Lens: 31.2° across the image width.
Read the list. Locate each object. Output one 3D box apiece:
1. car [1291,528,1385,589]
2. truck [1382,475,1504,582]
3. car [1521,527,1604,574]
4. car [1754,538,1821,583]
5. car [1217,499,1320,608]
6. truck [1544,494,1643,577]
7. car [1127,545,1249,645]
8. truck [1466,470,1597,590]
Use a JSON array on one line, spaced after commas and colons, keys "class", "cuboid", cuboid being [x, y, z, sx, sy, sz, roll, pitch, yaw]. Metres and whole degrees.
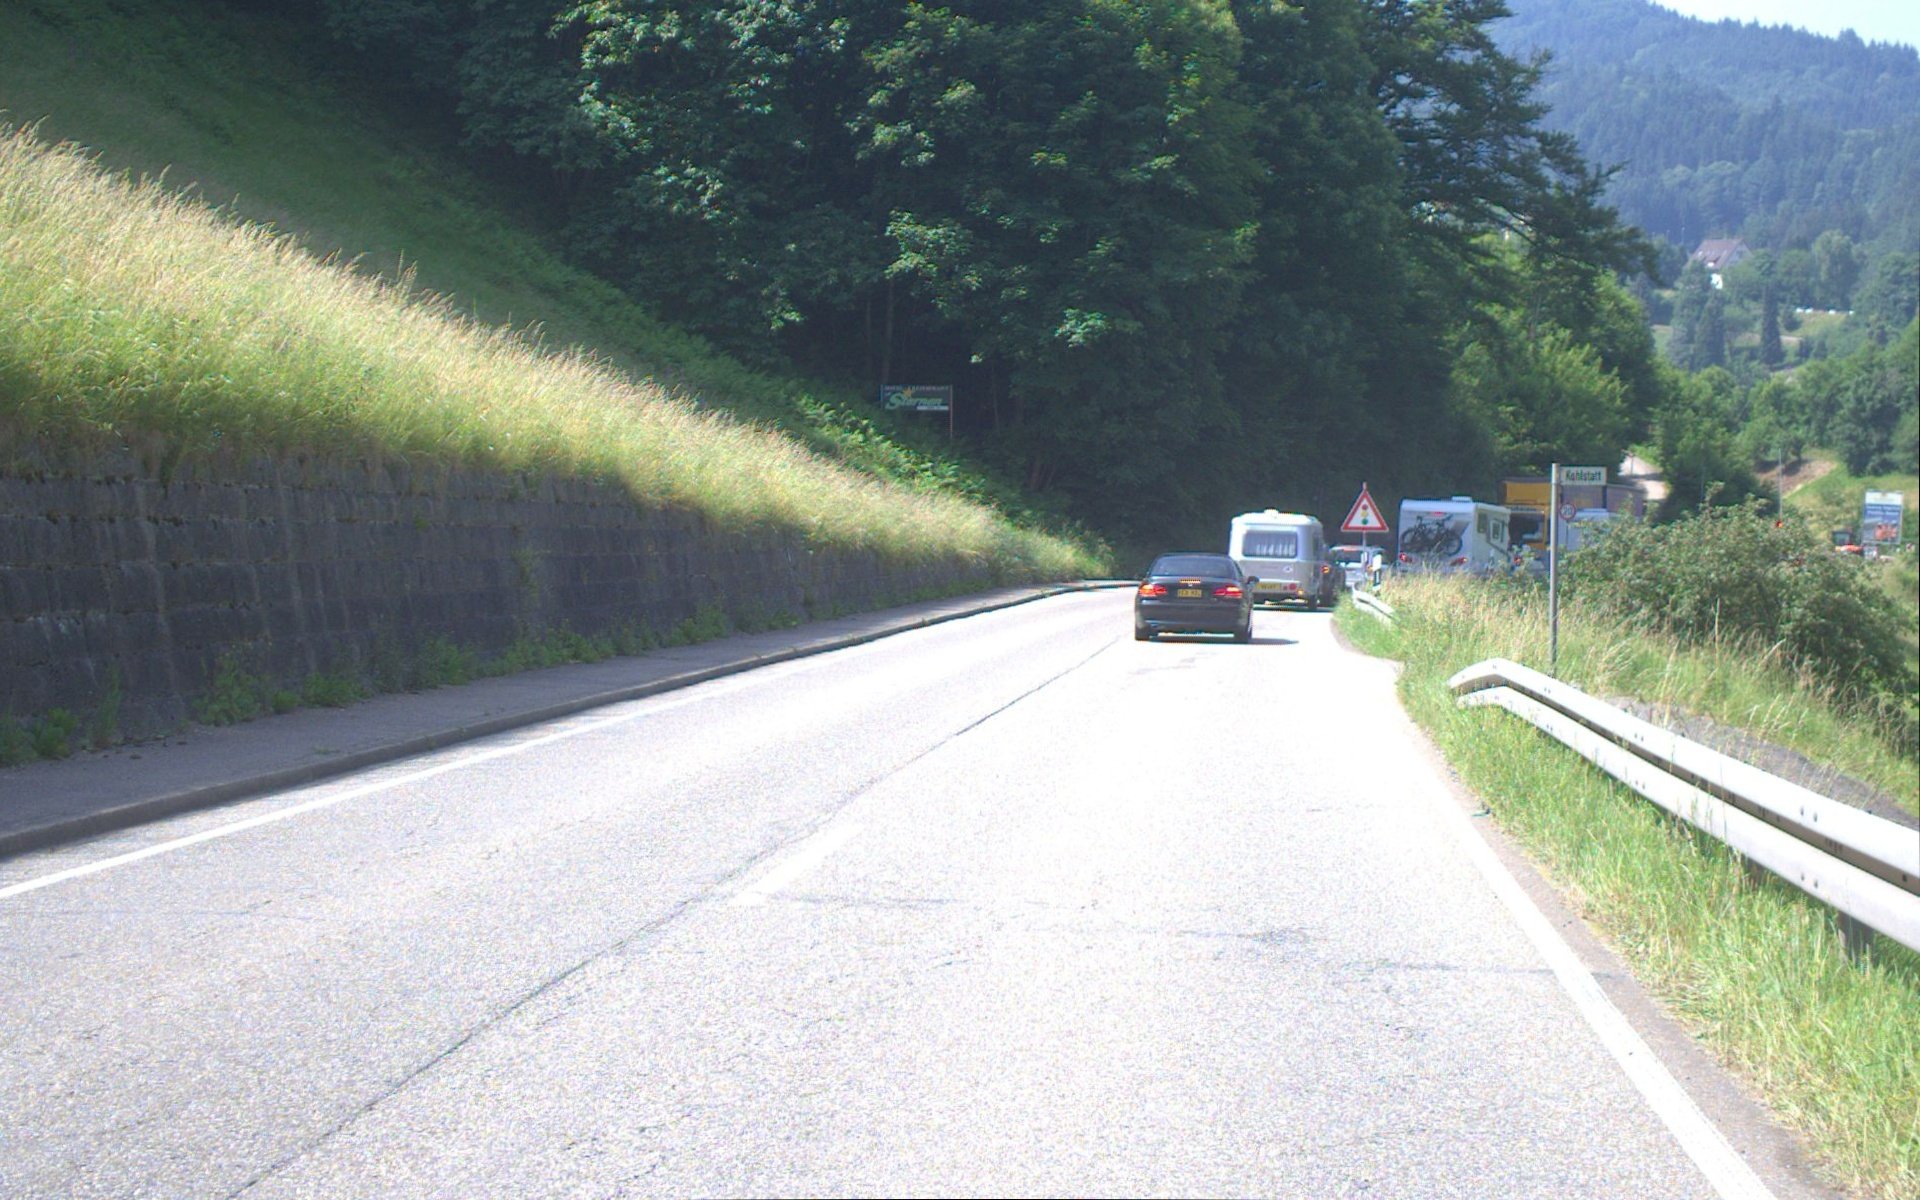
[{"class": "car", "cuboid": [10.263, -1.147, 93.229, 1.995, 1.479, 3.998, 4, 2, 13]}, {"class": "truck", "cuboid": [14.830, -2.215, 105.240, 2.793, 2.987, 6.864, 4, 3, 14]}, {"class": "car", "cuboid": [21.038, -1.738, 119.902, 1.790, 1.459, 3.995, 5, 3, 24]}, {"class": "car", "cuboid": [37.572, -1.804, 156.008, 1.996, 1.919, 3.994, 4, 2, 26]}, {"class": "car", "cuboid": [7.252, -1.123, 80.355, 1.994, 2.344, 4.913, 3, 3, 9]}, {"class": "truck", "cuboid": [23.308, -2.347, 126.292, 2.240, 2.794, 6.225, 3, 1, 22]}, {"class": "car", "cuboid": [3.544, -0.105, 53.233, 1.771, 1.331, 3.767, 2, 3, 4]}, {"class": "truck", "cuboid": [22.189, -2.718, 133.252, 3.193, 4.381, 6.563, 4, 3, 25]}]
